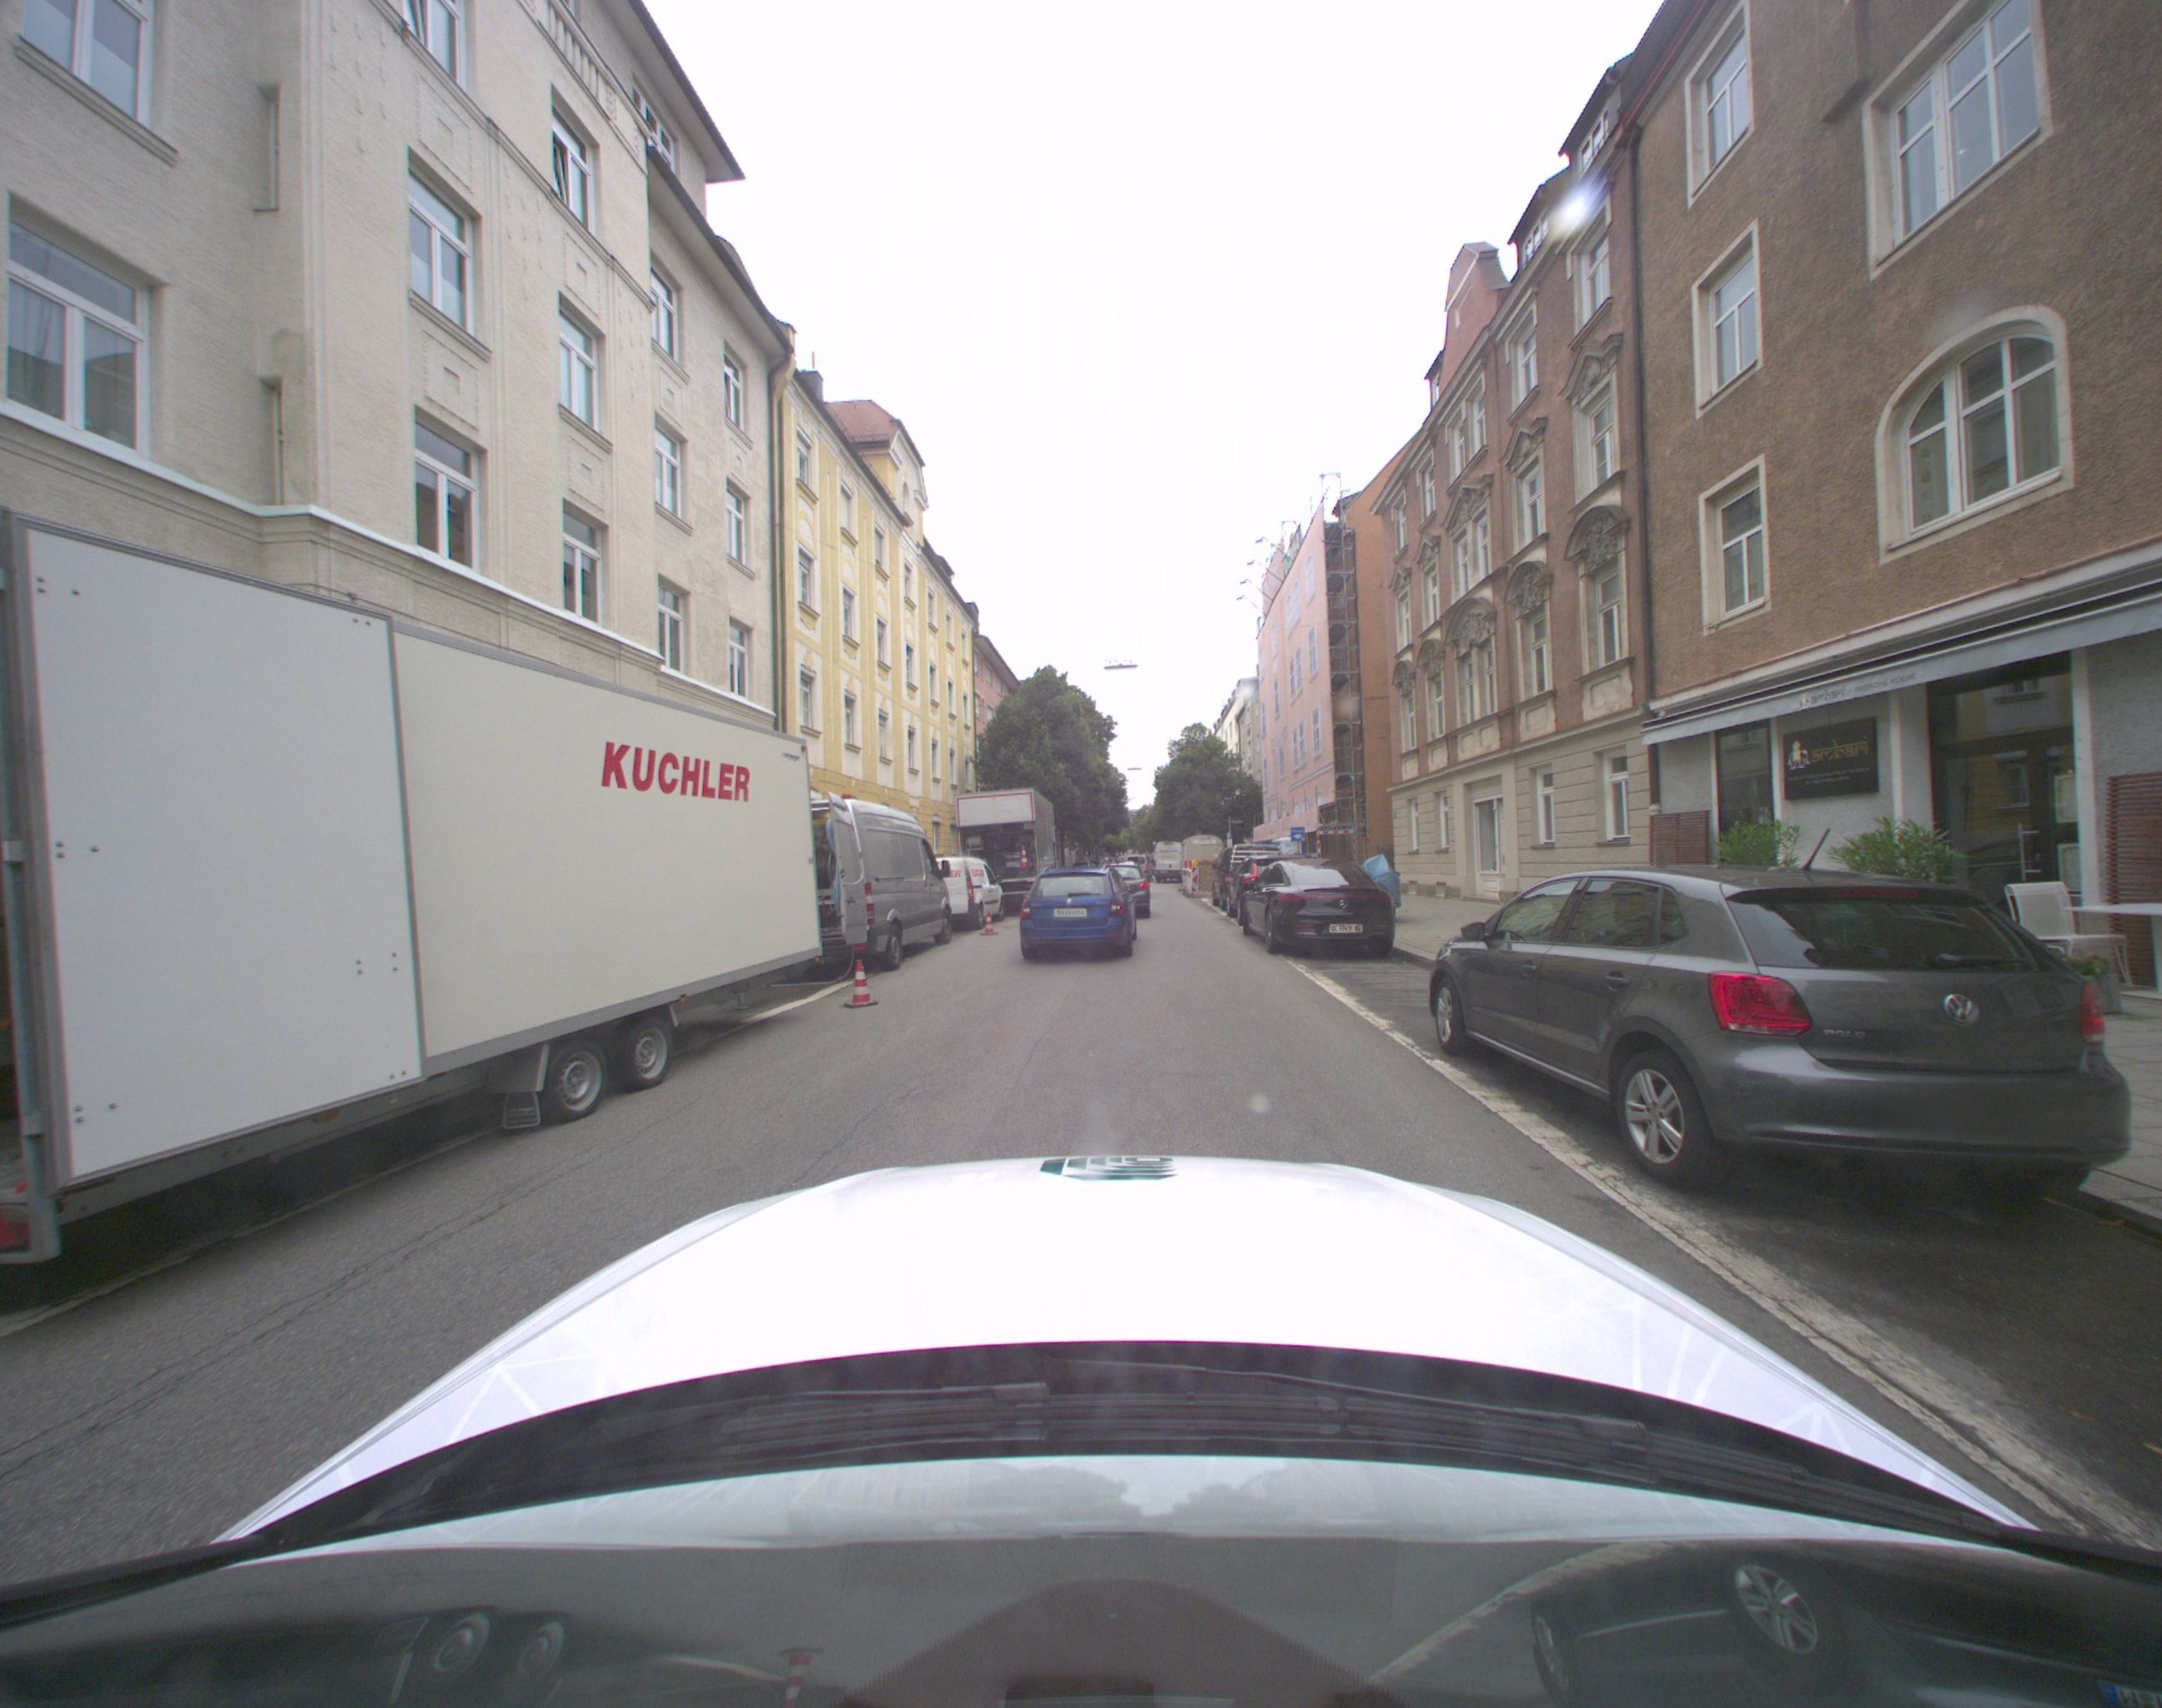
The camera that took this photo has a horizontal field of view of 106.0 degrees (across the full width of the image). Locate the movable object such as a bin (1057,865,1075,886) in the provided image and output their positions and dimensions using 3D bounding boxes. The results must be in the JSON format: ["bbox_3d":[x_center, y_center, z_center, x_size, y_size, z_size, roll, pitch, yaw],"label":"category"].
[{"bbox_3d":[-0.984,1.432,54.469,1.078,1.376,1.083,-4,-1,0],"label":"movable object such as a bin"}]

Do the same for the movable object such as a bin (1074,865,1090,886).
[{"bbox_3d":[0.086,1.458,55.589,1.017,1.376,1.103,-4,-1,0],"label":"movable object such as a bin"}]

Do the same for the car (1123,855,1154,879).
[{"bbox_3d":[4.628,0.992,64.962,1.855,1.870,4.360,-1,0,11],"label":"car"}]

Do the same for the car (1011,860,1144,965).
[{"bbox_3d":[0.108,0.877,13.979,1.780,1.460,4.321,-2,-1,6],"label":"car"}]

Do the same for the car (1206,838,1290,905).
[{"bbox_3d":[5.202,0.631,26.031,2.072,1.921,5.147,-1,-3,5],"label":"car"}]

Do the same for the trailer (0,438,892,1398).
[{"bbox_3d":[-4.275,0.256,6.378,2.789,2.969,7.614,-5,0,7],"label":"trailer"}]

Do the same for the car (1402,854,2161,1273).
[{"bbox_3d":[3.447,0.757,4.886,1.565,1.394,4.186,-2,-1,3],"label":"car"}]

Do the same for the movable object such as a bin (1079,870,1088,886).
[{"bbox_3d":[0.159,1.590,53.625,0.544,1.020,0.636,-4,-1,1],"label":"movable object such as a bin"}]

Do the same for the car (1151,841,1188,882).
[{"bbox_3d":[6.082,0.524,55.331,2.099,2.664,5.515,-1,-1,10],"label":"car"}]

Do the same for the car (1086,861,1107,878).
[{"bbox_3d":[1.401,1.360,73.016,1.805,1.478,4.002,-1,0,2],"label":"car"}]

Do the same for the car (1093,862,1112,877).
[{"bbox_3d":[2.291,1.558,85.036,1.804,1.478,4.005,-1,0,4],"label":"car"}]

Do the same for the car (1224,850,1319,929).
[{"bbox_3d":[4.528,0.812,19.914,1.685,1.676,4.414,1,-1,5],"label":"car"}]

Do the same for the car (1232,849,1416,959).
[{"bbox_3d":[4.051,0.752,14.662,1.922,1.553,5.642,-1,-1,3],"label":"car"}]

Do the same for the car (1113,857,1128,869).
[{"bbox_3d":[5.575,1.201,113.988,1.998,1.653,4.353,-1,0,5],"label":"car"}]

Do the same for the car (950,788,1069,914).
[{"bbox_3d":[-2.288,-0.032,29.598,2.800,3.818,8.732,-2,-1,4],"label":"car"}]

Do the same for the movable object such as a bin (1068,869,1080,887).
[{"bbox_3d":[-0.460,1.589,53.601,0.709,1.148,0.636,-4,-1,1],"label":"movable object such as a bin"}]

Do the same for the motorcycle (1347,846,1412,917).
[{"bbox_3d":[6.669,0.595,18.304,0.867,1.505,2.000,-2,-1,6],"label":"motorcycle"}]

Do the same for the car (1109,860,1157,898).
[{"bbox_3d":[2.188,1.016,34.251,1.859,1.454,4.351,-1,0,3],"label":"car"}]

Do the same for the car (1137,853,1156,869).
[{"bbox_3d":[7.273,0.774,89.868,1.998,1.653,4.353,-1,0,5],"label":"car"}]

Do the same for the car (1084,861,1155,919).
[{"bbox_3d":[1.151,0.941,22.574,1.732,1.422,3.669,-2,-1,5],"label":"car"}]

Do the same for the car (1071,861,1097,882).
[{"bbox_3d":[0.268,1.310,62.321,1.805,1.478,4.002,-1,0,2],"label":"car"}]

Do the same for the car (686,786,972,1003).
[{"bbox_3d":[-3.708,0.550,13.862,2.047,2.587,6.884,-6,-1,4],"label":"car"}]

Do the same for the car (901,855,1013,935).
[{"bbox_3d":[-3.096,0.989,21.263,1.754,1.779,4.333,-4,-1,5],"label":"car"}]

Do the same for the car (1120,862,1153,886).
[{"bbox_3d":[3.327,1.165,49.005,1.859,1.348,4.352,-1,0,4],"label":"car"}]

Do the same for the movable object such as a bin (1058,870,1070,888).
[{"bbox_3d":[-1.127,1.632,53.586,0.718,1.138,0.658,-4,-1,1],"label":"movable object such as a bin"}]

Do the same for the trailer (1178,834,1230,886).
[{"bbox_3d":[7.166,0.385,48.148,2.491,2.840,6.909,-1,-1,4],"label":"trailer"}]

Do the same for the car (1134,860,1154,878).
[{"bbox_3d":[6.201,1.483,79.708,1.859,1.653,4.352,-1,0,4],"label":"car"}]
